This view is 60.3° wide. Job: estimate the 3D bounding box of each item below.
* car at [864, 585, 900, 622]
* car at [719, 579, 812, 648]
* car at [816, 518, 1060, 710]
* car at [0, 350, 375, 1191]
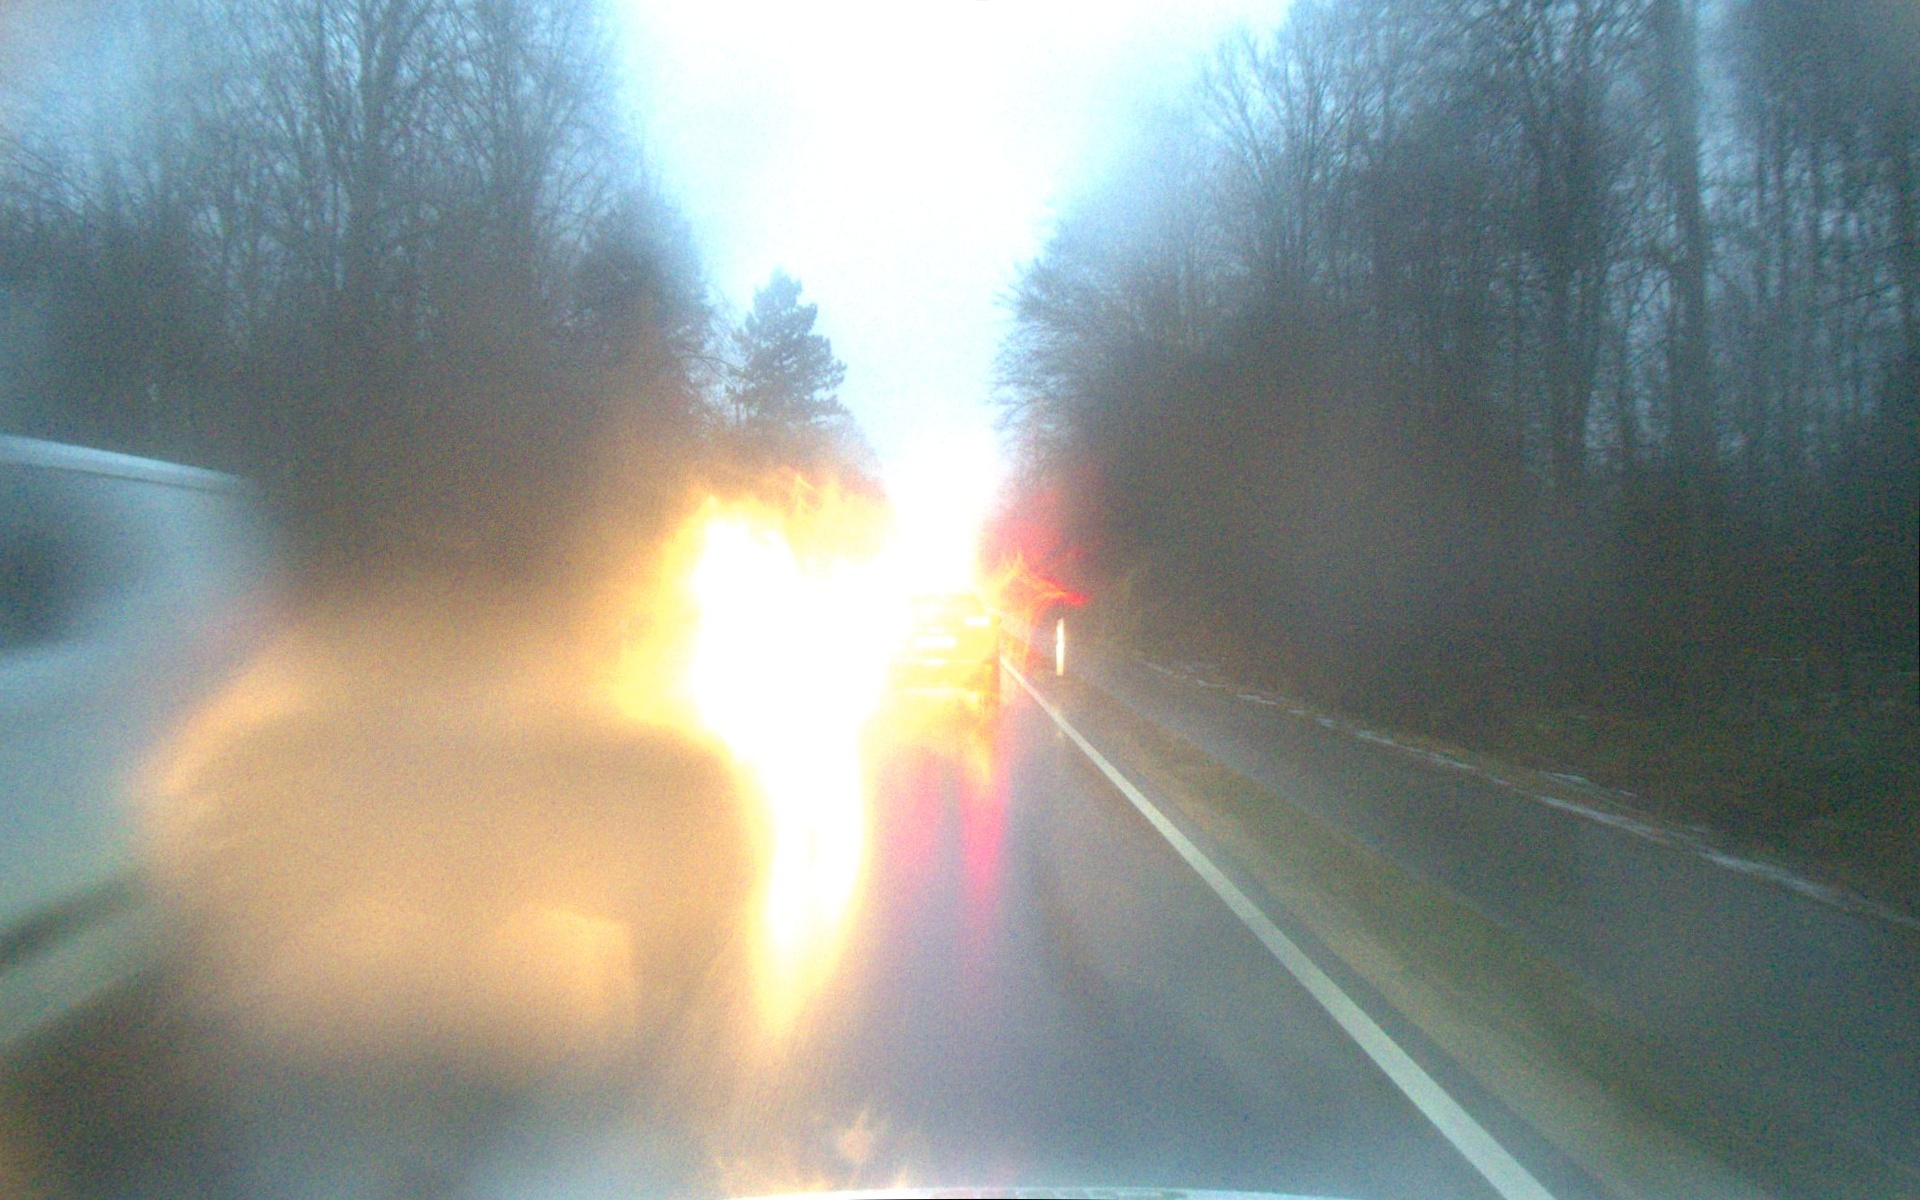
[{"bbox_3d":[-4.203,0.202,89.678,1.760,1.914,4.424,-1,0,-1],"label":"car"},{"bbox_3d":[-4.501,0.291,38.739,1.718,1.483,3.637,-2,0,0],"label":"car"},{"bbox_3d":[-0.293,0.172,24.692,3.118,2.428,6.636,1,0,0],"label":"car"},{"bbox_3d":[-3.313,0.433,4.163,1.966,2.023,5.030,-2,0,-2],"label":"car"}]
